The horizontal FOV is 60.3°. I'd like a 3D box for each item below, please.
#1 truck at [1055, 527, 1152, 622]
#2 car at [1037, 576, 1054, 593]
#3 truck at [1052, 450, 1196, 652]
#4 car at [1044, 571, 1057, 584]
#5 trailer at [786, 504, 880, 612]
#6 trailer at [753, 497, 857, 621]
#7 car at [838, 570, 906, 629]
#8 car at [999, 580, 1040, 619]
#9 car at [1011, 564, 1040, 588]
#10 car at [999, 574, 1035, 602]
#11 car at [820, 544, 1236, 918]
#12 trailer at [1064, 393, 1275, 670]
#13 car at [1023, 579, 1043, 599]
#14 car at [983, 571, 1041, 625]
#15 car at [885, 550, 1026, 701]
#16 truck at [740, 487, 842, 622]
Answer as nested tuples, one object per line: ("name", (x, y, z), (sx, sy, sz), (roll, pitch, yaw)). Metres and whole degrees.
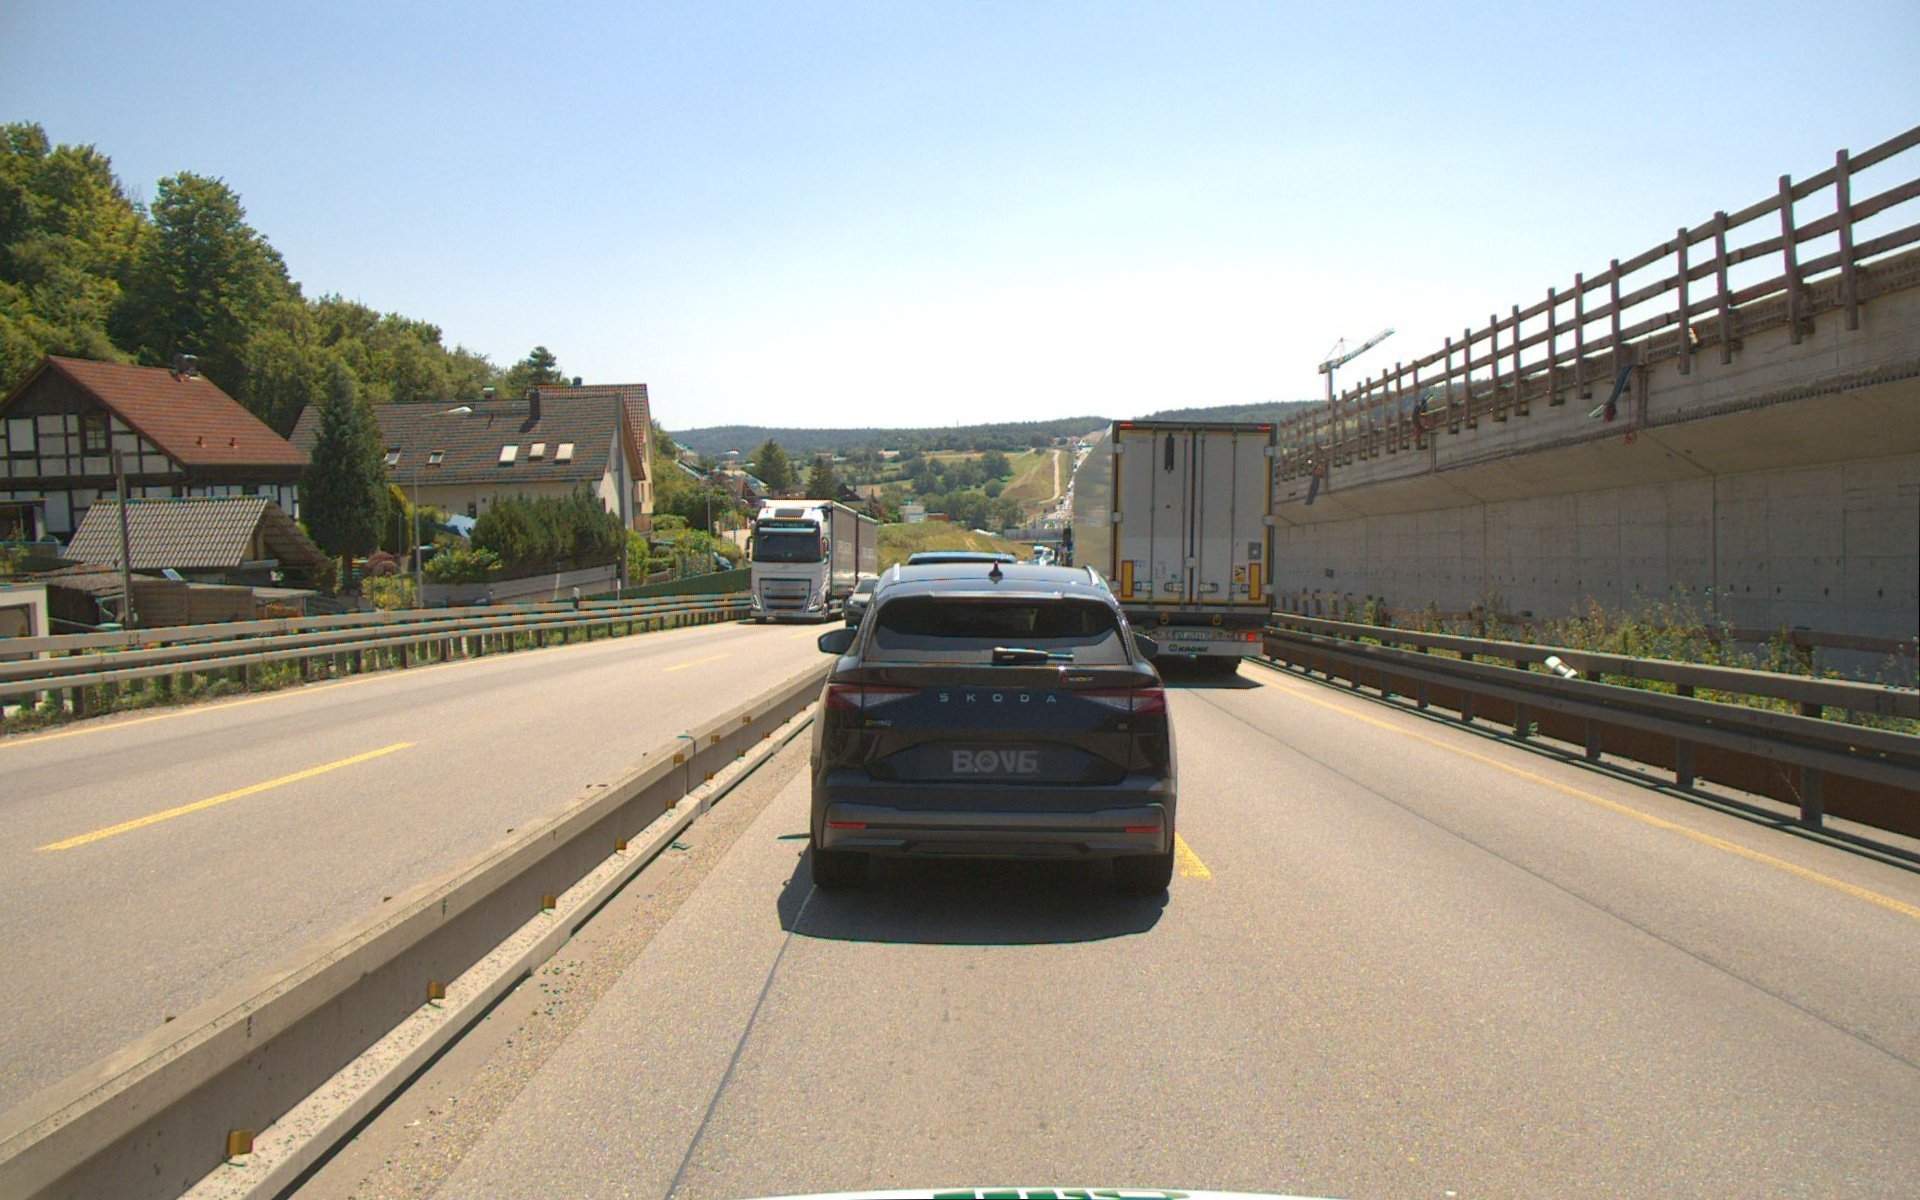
("truck", (5.276, -0.828, 62.942), (3.128, 3.247, 12.812), (1, 0, 3))
("car", (9.132, -1.678, 176.455), (1.665, 1.758, 3.838), (1, 0, 4))
("truck", (3.587, -0.966, 37.978), (2.462, 4.095, 8.237), (1, 0, 0))
("car", (12.140, -3.002, 221.385), (1.665, 1.758, 3.838), (1, 0, 4))
("trailer", (-5.120, -1.713, 68.163), (2.699, 4.141, 8.639), (1, 1, 3))
("trailer", (-5.487, -1.474, 59.881), (2.700, 4.141, 8.010), (1, 1, 2))
("car", (-2.582, -0.004, 49.220), (1.821, 1.639, 4.068), (1, 0, -1))
("car", (2.695, -0.044, 75.859), (1.672, 1.650, 4.000), (1, 1, -1))
("car", (4.822, -1.760, 121.303), (1.953, 1.613, 3.836), (1, 0, 0))
("car", (3.354, -0.687, 98.255), (1.953, 1.613, 3.836), (1, 0, 0))
("car", (0.159, 0.592, 9.168), (1.806, 1.614, 3.904), (1, 0, -5))
("trailer", (3.565, -1.010, 31.052), (2.480, 4.199, 11.547), (1, 0, 0))
("car", (6.436, -0.953, 145.940), (1.665, 1.758, 3.838), (1, 0, 4))
("car", (1.662, -0.088, 54.252), (1.672, 1.650, 4.000), (1, 1, -1))
("car", (-0.144, 0.289, 23.324), (1.673, 1.914, 3.997), (1, 1, -4))
("truck", (-5.671, -1.504, 56.233), (2.695, 4.358, 4.959), (1, 1, 2))
